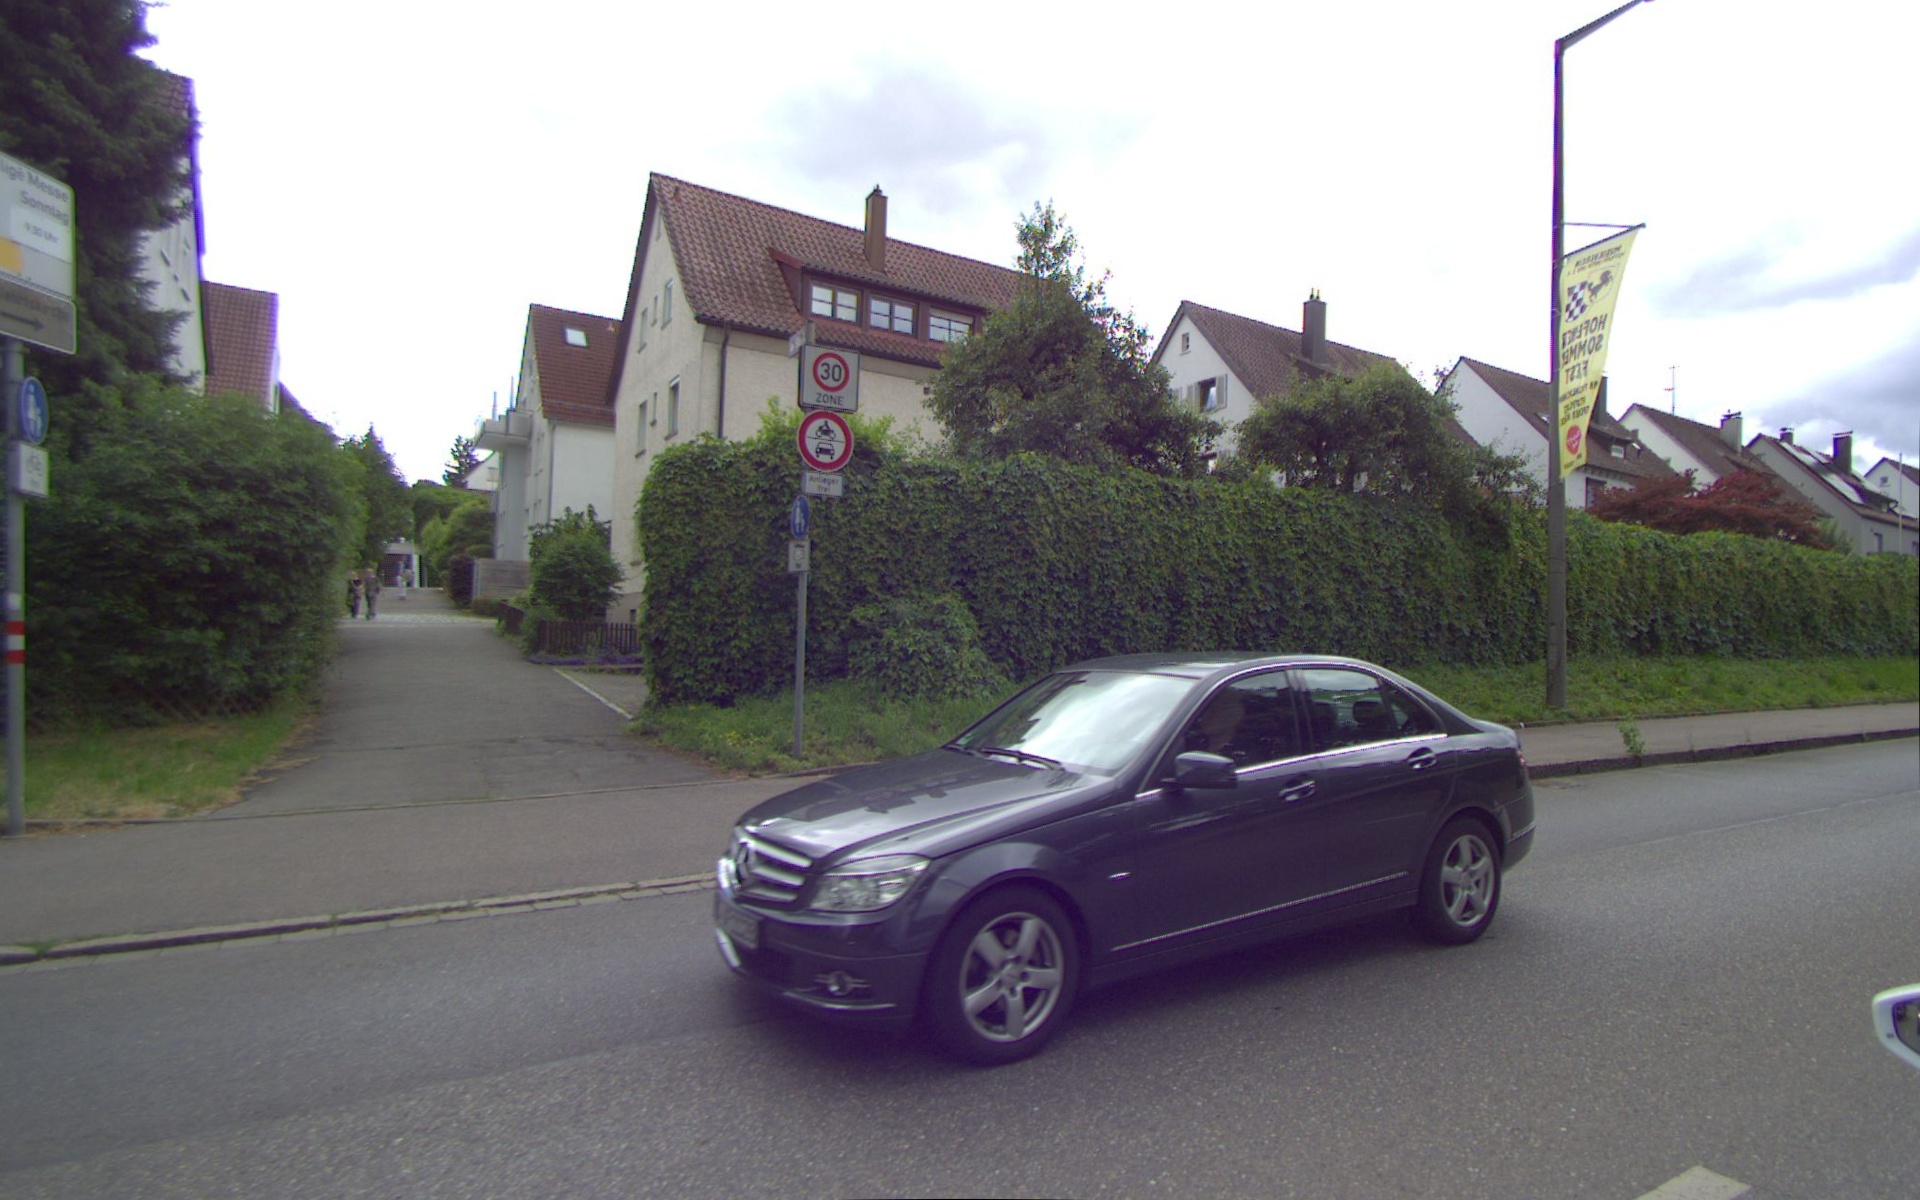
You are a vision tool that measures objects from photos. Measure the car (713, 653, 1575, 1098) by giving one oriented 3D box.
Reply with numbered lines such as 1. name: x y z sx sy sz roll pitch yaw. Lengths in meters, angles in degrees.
1. car: 1.071 0.972 5.056 4.191 1.393 1.724 2 -3 -31

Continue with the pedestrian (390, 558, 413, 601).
1. pedestrian: -24.297 -0.869 43.696 0.794 1.821 0.641 1 -1 -27

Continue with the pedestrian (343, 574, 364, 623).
1. pedestrian: -20.524 -0.042 33.998 0.561 1.635 0.396 1 -1 -27

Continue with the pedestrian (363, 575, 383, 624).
1. pedestrian: -19.753 -0.026 33.808 0.510 1.635 0.396 1 -1 -27
